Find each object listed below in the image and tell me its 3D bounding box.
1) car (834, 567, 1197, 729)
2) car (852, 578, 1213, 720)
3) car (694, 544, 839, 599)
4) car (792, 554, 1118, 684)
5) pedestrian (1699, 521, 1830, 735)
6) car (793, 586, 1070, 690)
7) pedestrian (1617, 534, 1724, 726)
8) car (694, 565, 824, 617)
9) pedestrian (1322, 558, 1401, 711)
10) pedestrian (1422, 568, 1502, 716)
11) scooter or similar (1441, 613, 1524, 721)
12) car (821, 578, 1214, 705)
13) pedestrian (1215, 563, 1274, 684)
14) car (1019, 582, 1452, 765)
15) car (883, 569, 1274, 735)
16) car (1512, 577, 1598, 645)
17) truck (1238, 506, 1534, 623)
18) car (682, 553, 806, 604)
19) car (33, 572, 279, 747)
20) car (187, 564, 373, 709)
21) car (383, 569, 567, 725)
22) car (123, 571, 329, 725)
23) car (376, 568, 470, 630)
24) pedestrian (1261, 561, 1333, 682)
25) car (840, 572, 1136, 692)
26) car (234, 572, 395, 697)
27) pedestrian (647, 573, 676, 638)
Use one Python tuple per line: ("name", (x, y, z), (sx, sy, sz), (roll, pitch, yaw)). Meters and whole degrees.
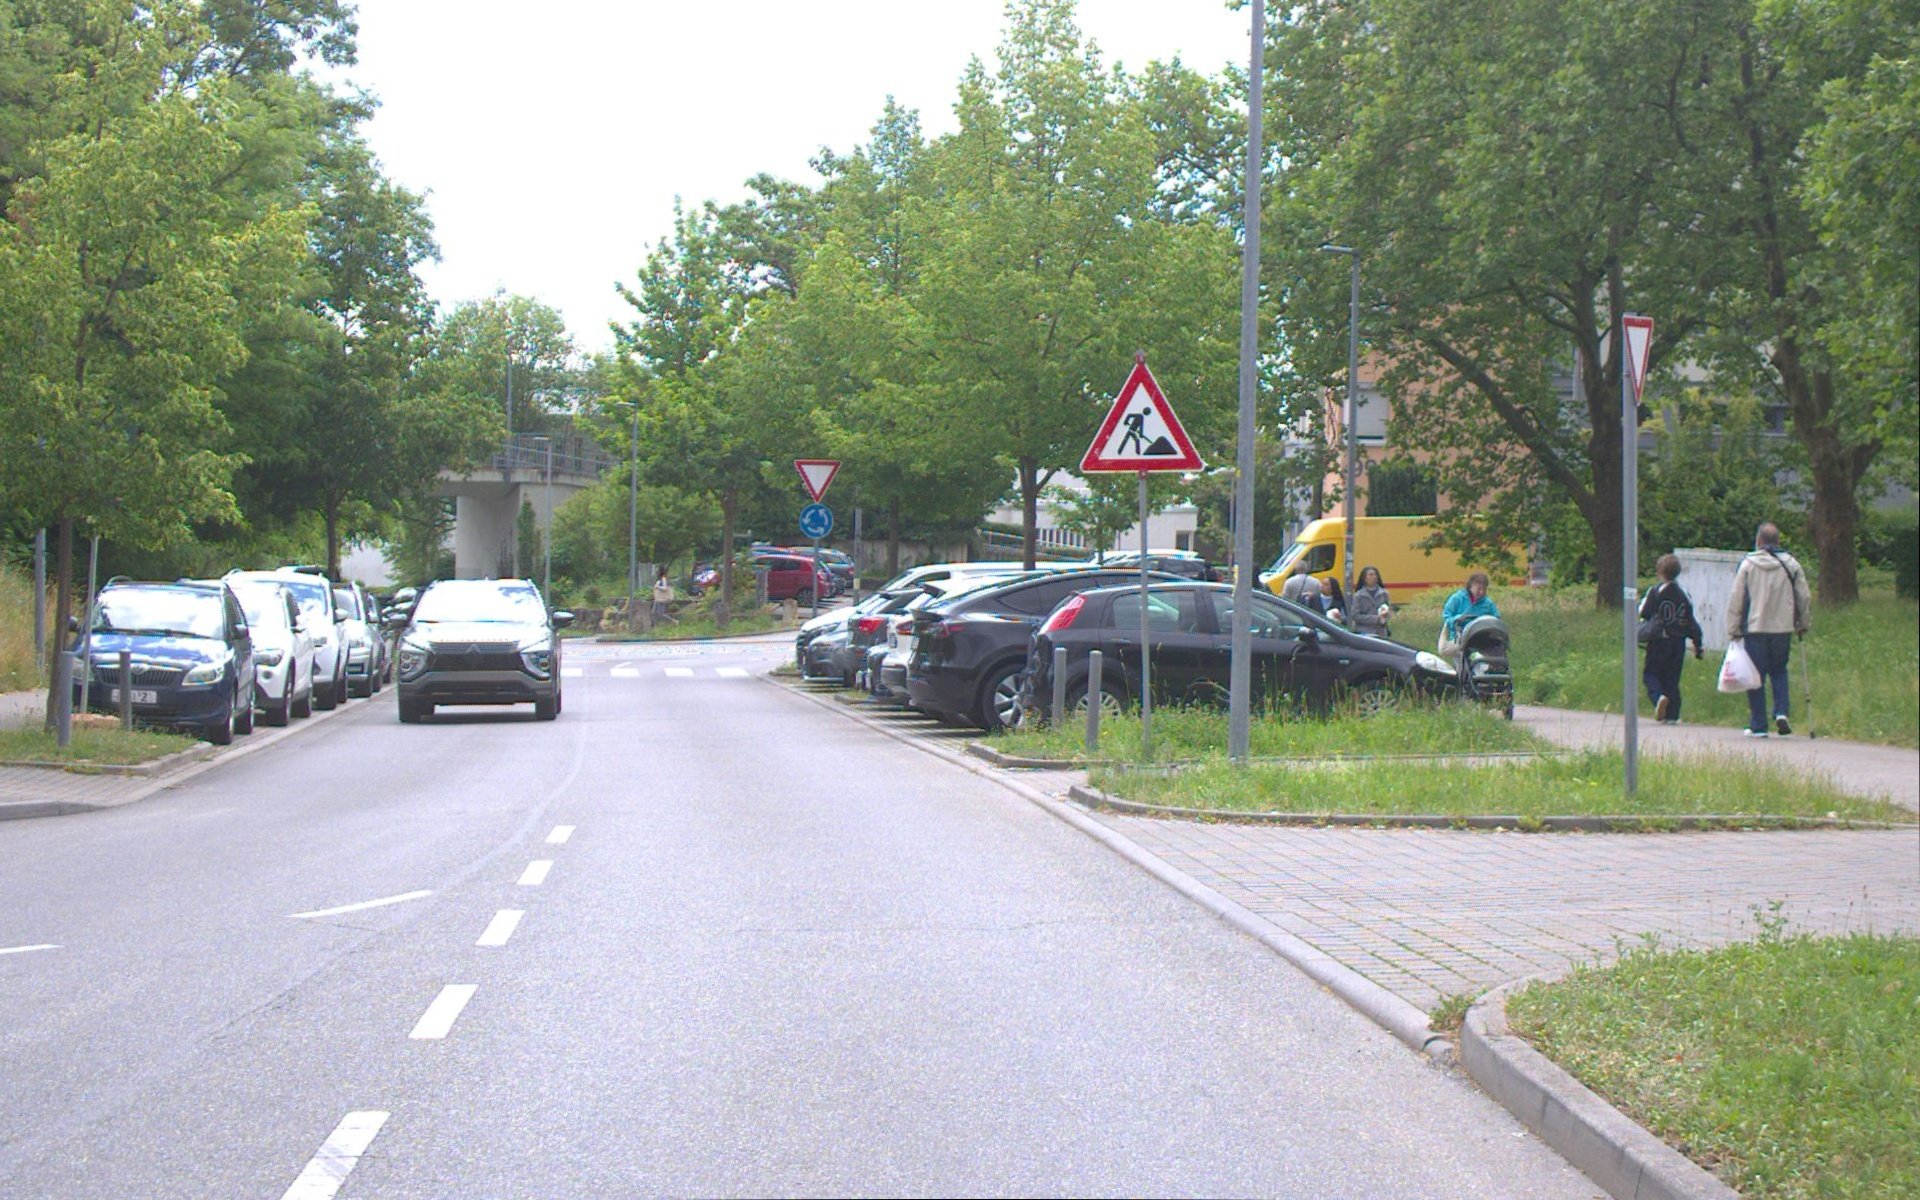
("car", (0.536, 0.481, 36.055), (3.669, 1.641, 1.852), (0, 0, -3))
("car", (0.819, 0.547, 38.992), (3.987, 1.514, 1.884), (1, 0, 1))
("car", (-6.141, -0.912, 109.477), (4.543, 1.662, 1.945), (1, 0, -2))
("car", (-0.111, 0.283, 52.713), (4.773, 1.825, 1.843), (-2, 0, -7))
("pedestrian", (6.824, 0.230, 29.196), (0.830, 1.786, 0.878), (1, 0, -5))
("car", (-0.443, 0.527, 49.533), (3.824, 1.366, 1.843), (-2, 0, -5))
("pedestrian", (6.728, 0.278, 32.587), (0.739, 1.786, 0.878), (1, 0, -5))
("car", (-5.788, -0.278, 99.198), (3.649, 1.434, 1.684), (1, 0, 0))
("pedestrian", (4.763, 0.401, 40.835), (0.739, 1.786, 0.878), (1, 0, -5))
("pedestrian", (5.038, 0.418, 34.522), (0.618, 1.463, 0.736), (1, 0, -5))
("scooter or similar", (5.114, 0.649, 33.675), (0.580, 1.020, 0.944), (1, 0, -5))
("car", (0.678, 0.495, 42.660), (4.573, 1.487, 1.952), (-1, 0, -10))
("pedestrian", (3.917, 0.322, 47.359), (0.688, 1.651, 0.600), (1, 0, -7))
("car", (2.445, 0.645, 31.067), (3.669, 1.493, 1.646), (1, 2, -3))
("car", (1.112, 0.498, 33.406), (3.669, 1.569, 1.593), (0, -1, -3))
("car", (15.305, 0.254, 88.542), (1.568, 1.653, 3.777), (-2, 0, 1))
("truck", (10.312, -0.883, 83.663), (6.801, 2.693, 2.475), (1, 2, -2))
("car", (-6.557, -0.666, 104.477), (3.649, 1.493, 1.684), (1, 0, 0))
("car", (-7.707, 0.526, 33.259), (1.689, 1.482, 3.954), (3, 0, -5))
("car", (-8.655, 0.420, 44.062), (1.807, 1.659, 4.437), (3, 0, -6))
("car", (-5.764, 0.505, 40.477), (1.896, 1.577, 4.169), (-4, 1, -10))
("car", (-8.095, 0.487, 38.229), (1.689, 1.506, 4.231), (3, 0, -6))
("car", (-16.838, -0.024, 107.637), (1.813, 1.673, 4.370), (-1, -3, -24))
("pedestrian", (4.646, 0.297, 47.442), (0.869, 1.651, 0.593), (1, 0, -7))
("car", (0.350, 0.423, 47.060), (3.823, 1.514, 1.912), (-2, 0, -6))
("car", (-9.279, 0.459, 49.706), (1.799, 1.610, 4.479), (3, 0, -6))
("pedestrian", (-7.905, 0.142, 91.007), (0.658, 1.716, 0.739), (1, 0, 2))
